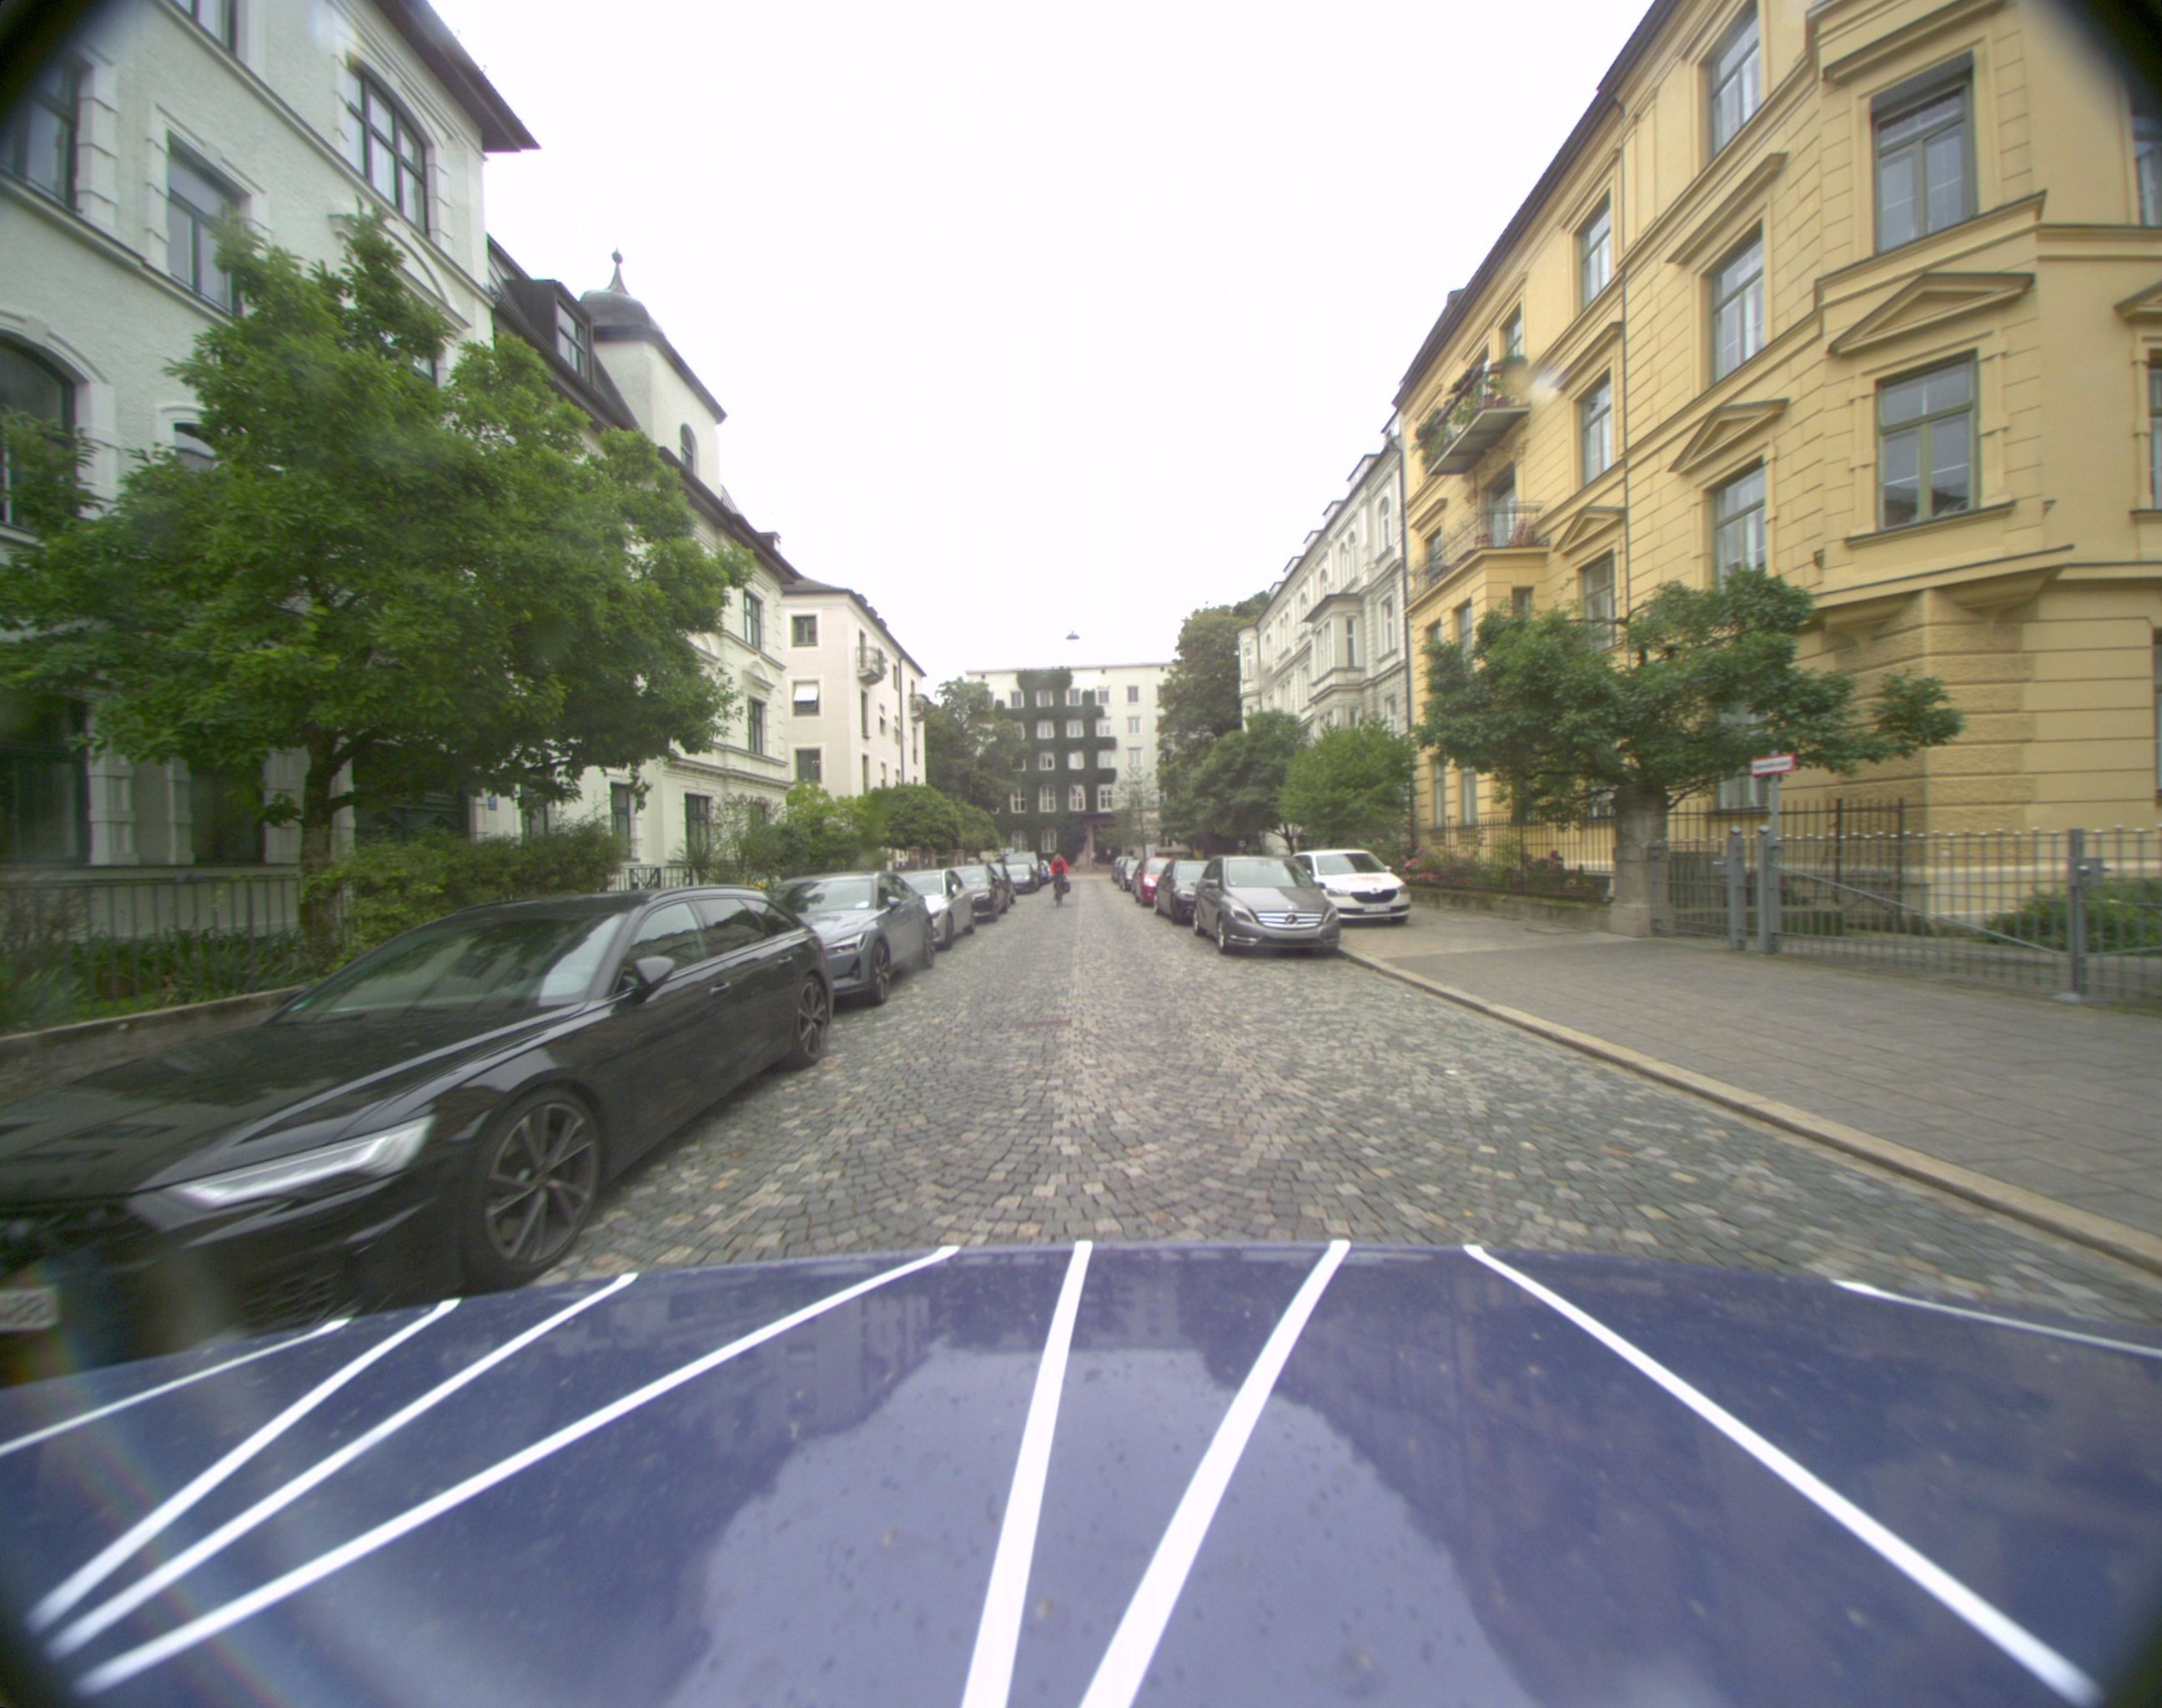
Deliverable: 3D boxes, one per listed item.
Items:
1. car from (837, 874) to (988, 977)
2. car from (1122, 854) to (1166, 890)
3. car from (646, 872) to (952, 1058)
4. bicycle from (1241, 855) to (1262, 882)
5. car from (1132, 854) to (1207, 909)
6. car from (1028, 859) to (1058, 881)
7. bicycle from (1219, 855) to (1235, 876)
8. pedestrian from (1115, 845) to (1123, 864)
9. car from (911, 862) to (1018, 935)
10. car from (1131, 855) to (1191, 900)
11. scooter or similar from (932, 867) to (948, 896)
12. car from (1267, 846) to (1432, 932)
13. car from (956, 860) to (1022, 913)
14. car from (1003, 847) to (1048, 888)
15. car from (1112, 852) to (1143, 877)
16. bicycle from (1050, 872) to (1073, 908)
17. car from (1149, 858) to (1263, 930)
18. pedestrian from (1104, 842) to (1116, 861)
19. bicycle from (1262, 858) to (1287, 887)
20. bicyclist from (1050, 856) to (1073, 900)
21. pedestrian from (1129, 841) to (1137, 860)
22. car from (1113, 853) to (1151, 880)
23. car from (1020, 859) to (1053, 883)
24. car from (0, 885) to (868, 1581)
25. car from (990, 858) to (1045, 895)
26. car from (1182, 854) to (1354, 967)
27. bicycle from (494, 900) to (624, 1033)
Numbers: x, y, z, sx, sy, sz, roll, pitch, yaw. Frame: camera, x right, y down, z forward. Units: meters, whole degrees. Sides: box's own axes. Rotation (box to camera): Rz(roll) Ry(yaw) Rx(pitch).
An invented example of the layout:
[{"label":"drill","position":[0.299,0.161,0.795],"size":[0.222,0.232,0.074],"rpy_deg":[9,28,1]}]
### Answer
[{"label":"car","position":[-3.066,1.242,14.833],"size":[1.760,1.451,4.480],"rpy_deg":[-4,0,1]},{"label":"car","position":[2.839,0.791,35.104],"size":[1.814,1.490,4.510],"rpy_deg":[-1,0,3]},{"label":"car","position":[-3.067,1.109,9.580],"size":[1.887,1.480,4.814],"rpy_deg":[-4,0,1]},{"label":"bicycle","position":[7.881,0.657,35.142],"size":[0.510,1.118,1.790],"rpy_deg":[-5,1,1]},{"label":"car","position":[2.749,0.811,24.418],"size":[1.846,1.577,4.191],"rpy_deg":[-1,0,-1]},{"label":"car","position":[-2.530,1.055,51.634],"size":[1.744,1.367,4.281],"rpy_deg":[-1,0,0]},{"label":"bicycle","position":[7.957,0.622,41.520],"size":[0.464,1.045,1.695],"rpy_deg":[-5,1,1]},{"label":"pedestrian","position":[3.941,0.026,78.356],"size":[0.701,1.905,0.863],"rpy_deg":[-4,1,3]},{"label":"car","position":[-2.956,1.080,20.491],"size":[1.909,1.494,5.105],"rpy_deg":[-4,0,1]},{"label":"car","position":[3.052,0.859,29.961],"size":[1.822,1.500,4.641],"rpy_deg":[1,1,0]},{"label":"scooter or similar","position":[-6.279,1.207,33.976],"size":[0.444,1.209,1.470],"rpy_deg":[3,1,-3]},{"label":"car","position":[5.345,0.611,15.797],"size":[1.846,1.457,4.389],"rpy_deg":[-3,0,1]},{"label":"car","position":[-3.042,1.053,25.770],"size":[1.671,1.499,3.685],"rpy_deg":[-4,0,0]},{"label":"car","position":[-2.944,0.688,41.397],"size":[1.999,1.958,4.965],"rpy_deg":[-5,1,-1]},{"label":"car","position":[3.026,0.665,50.124],"size":[1.744,1.572,4.281],"rpy_deg":[-1,0,-1]},{"label":"bicycle","position":[-0.597,1.113,24.152],"size":[0.636,1.021,1.955],"rpy_deg":[-2,1,0]},{"label":"car","position":[2.872,0.860,18.633],"size":[1.875,1.461,5.133],"rpy_deg":[-1,0,-1]},{"label":"pedestrian","position":[2.992,-0.248,78.100],"size":[0.703,1.905,0.861],"rpy_deg":[-4,1,-31]},{"label":"bicycle","position":[7.685,0.723,30.227],"size":[0.474,1.045,1.759],"rpy_deg":[-5,1,1]},{"label":"bicyclist","position":[-0.616,0.757,24.153],"size":[0.648,1.350,0.656],"rpy_deg":[-3,1,0]},{"label":"pedestrian","position":[5.379,-0.332,78.155],"size":[0.665,1.905,0.863],"rpy_deg":[-3,1,9]},{"label":"car","position":[2.973,0.704,44.705],"size":[1.744,1.490,4.280],"rpy_deg":[-1,0,-3]},{"label":"car","position":[-2.662,0.996,46.560],"size":[1.744,1.367,4.181],"rpy_deg":[-1,0,0]},{"label":"car","position":[-2.964,1.110,4.444],"size":[1.823,1.480,5.049],"rpy_deg":[-5,0,1]},{"label":"car","position":[-2.897,1.015,35.802],"size":[1.942,1.457,4.532],"rpy_deg":[-4,0,2]},{"label":"car","position":[2.961,0.802,12.965],"size":[1.744,1.577,4.191],"rpy_deg":[-1,0,-3]},{"label":"bicycle","position":[-5.649,1.156,8.329],"size":[0.582,1.188,1.646],"rpy_deg":[-3,0,-14]}]
